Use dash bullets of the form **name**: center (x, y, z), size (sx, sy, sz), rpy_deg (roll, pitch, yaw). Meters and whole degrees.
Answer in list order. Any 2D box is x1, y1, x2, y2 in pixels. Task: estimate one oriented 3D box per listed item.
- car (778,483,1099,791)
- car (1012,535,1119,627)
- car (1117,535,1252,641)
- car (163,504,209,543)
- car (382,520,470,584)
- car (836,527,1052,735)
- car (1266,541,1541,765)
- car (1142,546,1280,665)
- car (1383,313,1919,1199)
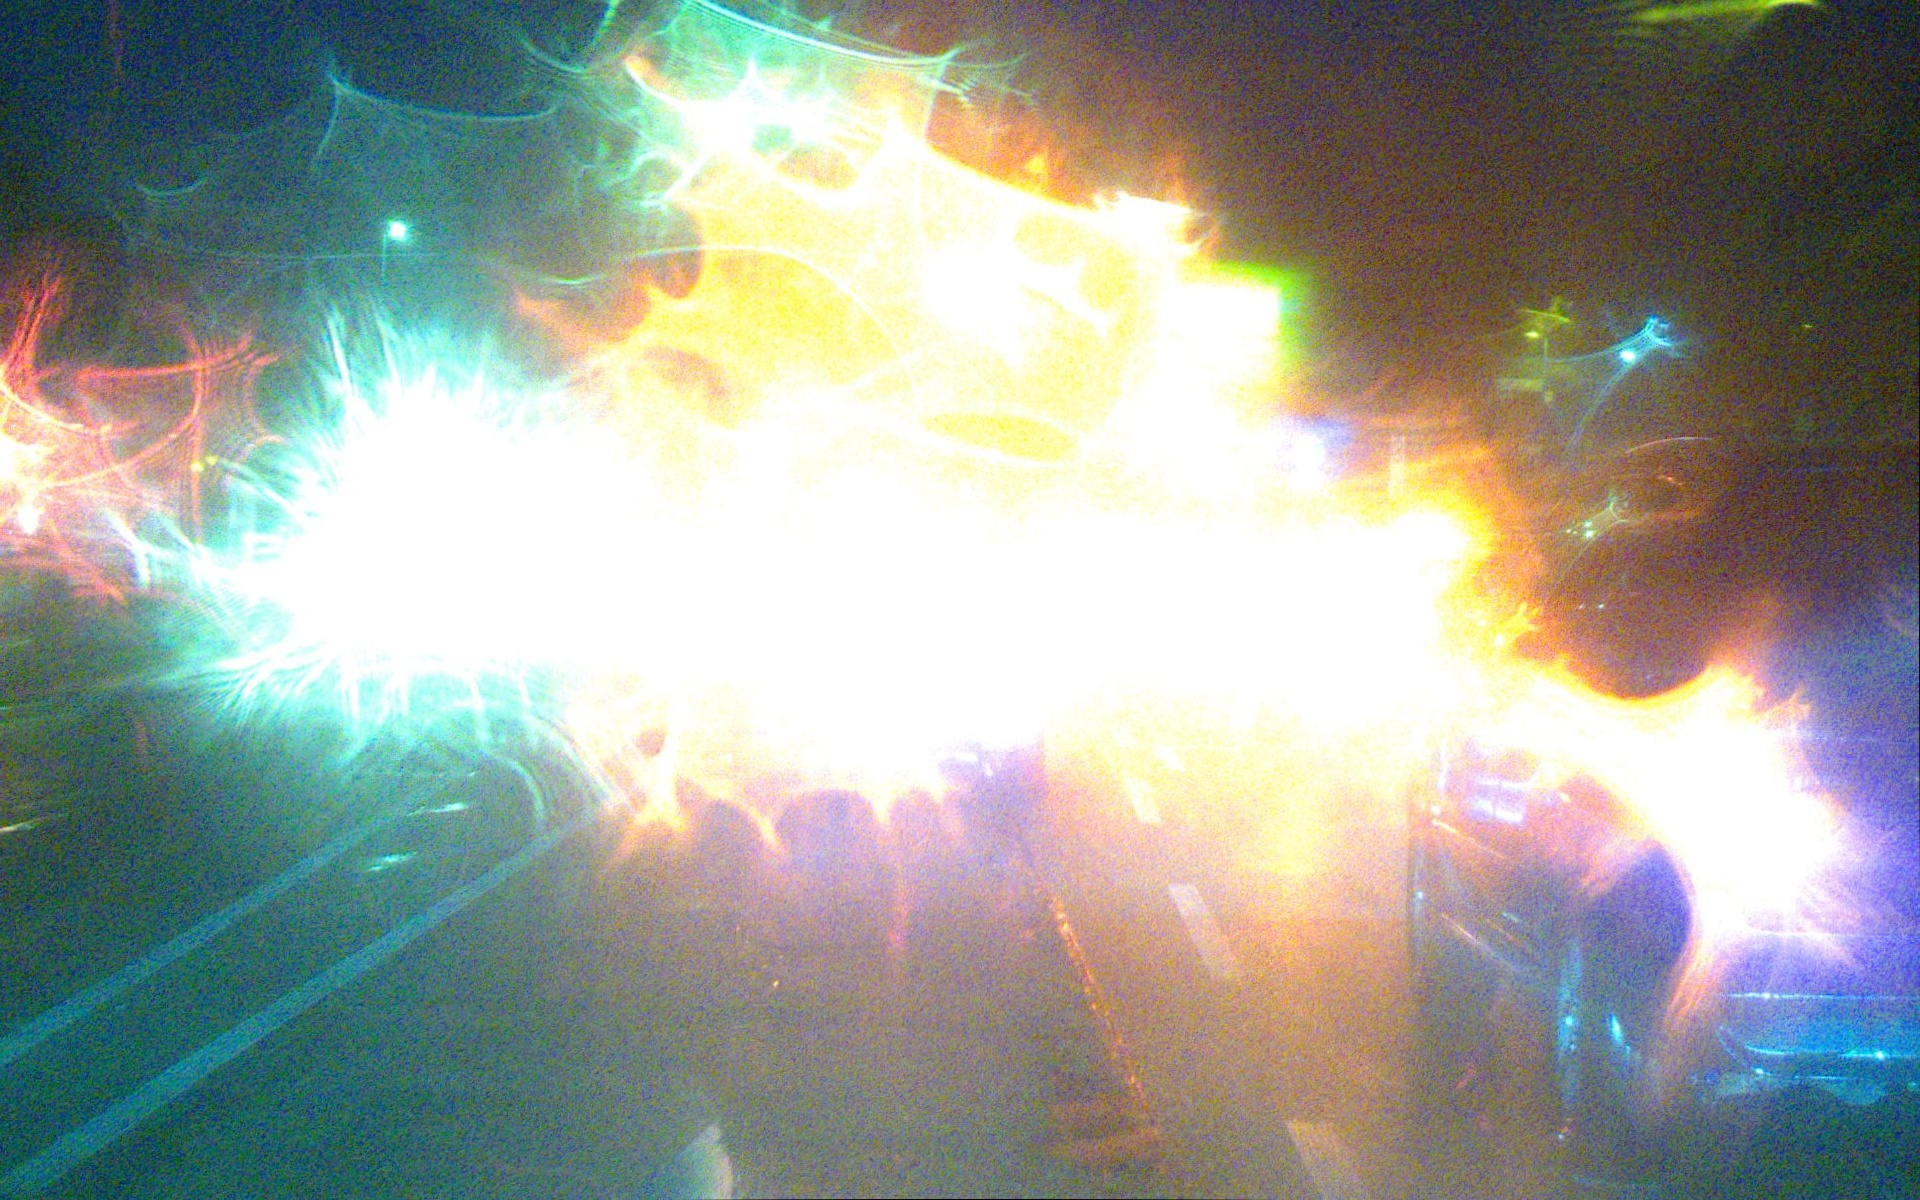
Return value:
- **car**: center (-0.084, 0.177, 20.543), size (1.694, 1.624, 3.853), rpy_deg (1, 1, 1)
- **car**: center (1.732, -0.325, 57.434), size (1.663, 1.445, 4.050), rpy_deg (1, 1, 1)
- **car**: center (3.278, -0.212, 50.788), size (1.663, 1.445, 4.050), rpy_deg (1, 2, -1)
- **car**: center (-38.976, -3.852, 173.174), size (1.993, 1.905, 4.744), rpy_deg (1, 1, -10)
- **car**: center (-16.792, -1.526, 107.875), size (1.993, 1.905, 4.744), rpy_deg (0, 1, -18)
- **car**: center (-0.078, 0.207, 29.269), size (1.709, 1.632, 3.730), rpy_deg (0, 1, 1)
- **car**: center (3.186, 0.319, 25.387), size (1.768, 1.445, 4.218), rpy_deg (1, 2, 4)
- **car**: center (3.171, 0.047, 44.010), size (1.663, 1.445, 4.049), rpy_deg (0, 1, 3)
- **car**: center (2.341, 0.366, 9.015), size (1.942, 1.965, 4.218), rpy_deg (1, 2, 1)
